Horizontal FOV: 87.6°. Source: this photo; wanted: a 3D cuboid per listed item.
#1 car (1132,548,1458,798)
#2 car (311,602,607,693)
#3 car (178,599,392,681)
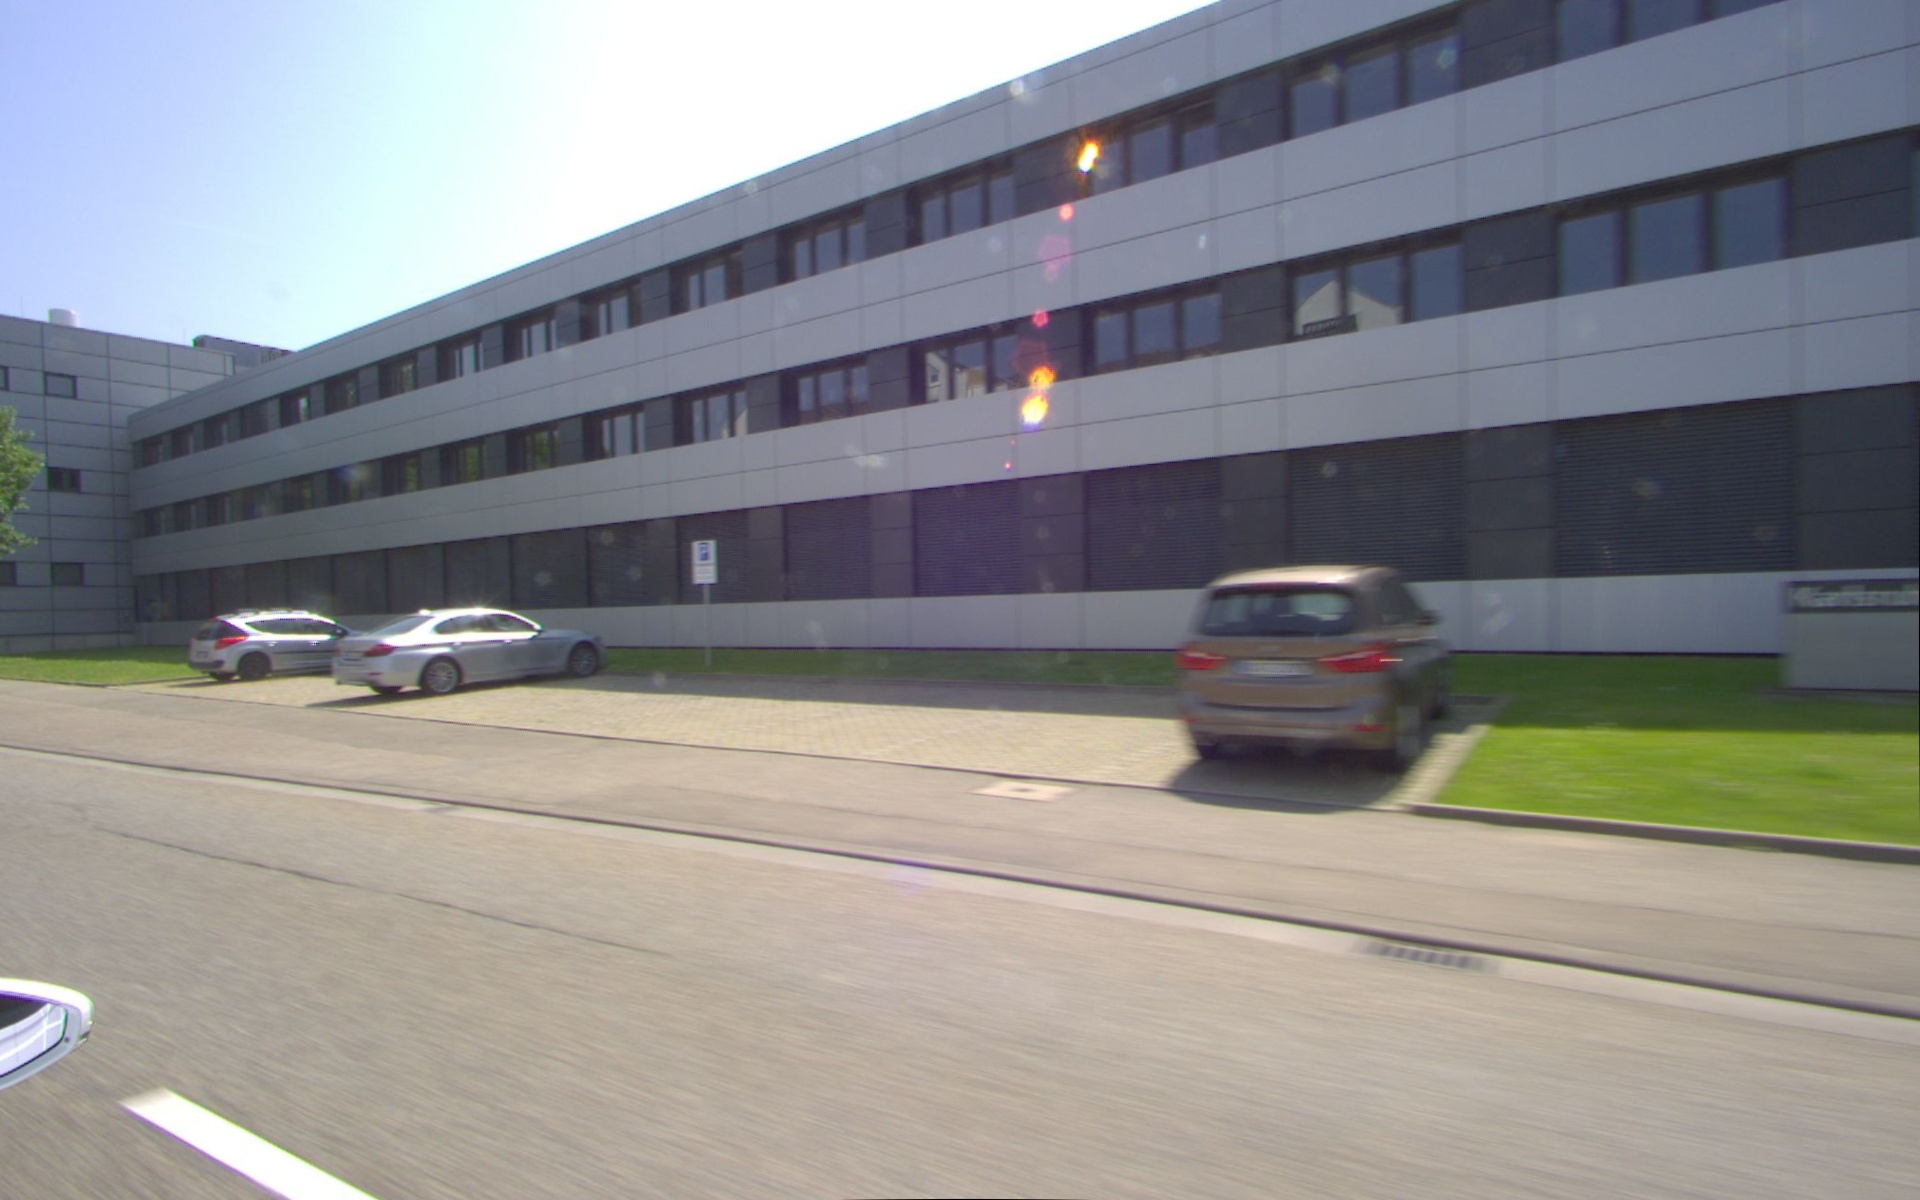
[{"bbox_3d":[3.331,0.443,9.305,1.971,1.712,4.249,-1,2,31],"label":"car"},{"bbox_3d":[-9.145,0.793,18.706,1.971,1.409,4.604,-1,0,31],"label":"car"},{"bbox_3d":[-15.983,0.889,23.913,1.707,1.614,3.803,-1,2,31],"label":"car"}]
